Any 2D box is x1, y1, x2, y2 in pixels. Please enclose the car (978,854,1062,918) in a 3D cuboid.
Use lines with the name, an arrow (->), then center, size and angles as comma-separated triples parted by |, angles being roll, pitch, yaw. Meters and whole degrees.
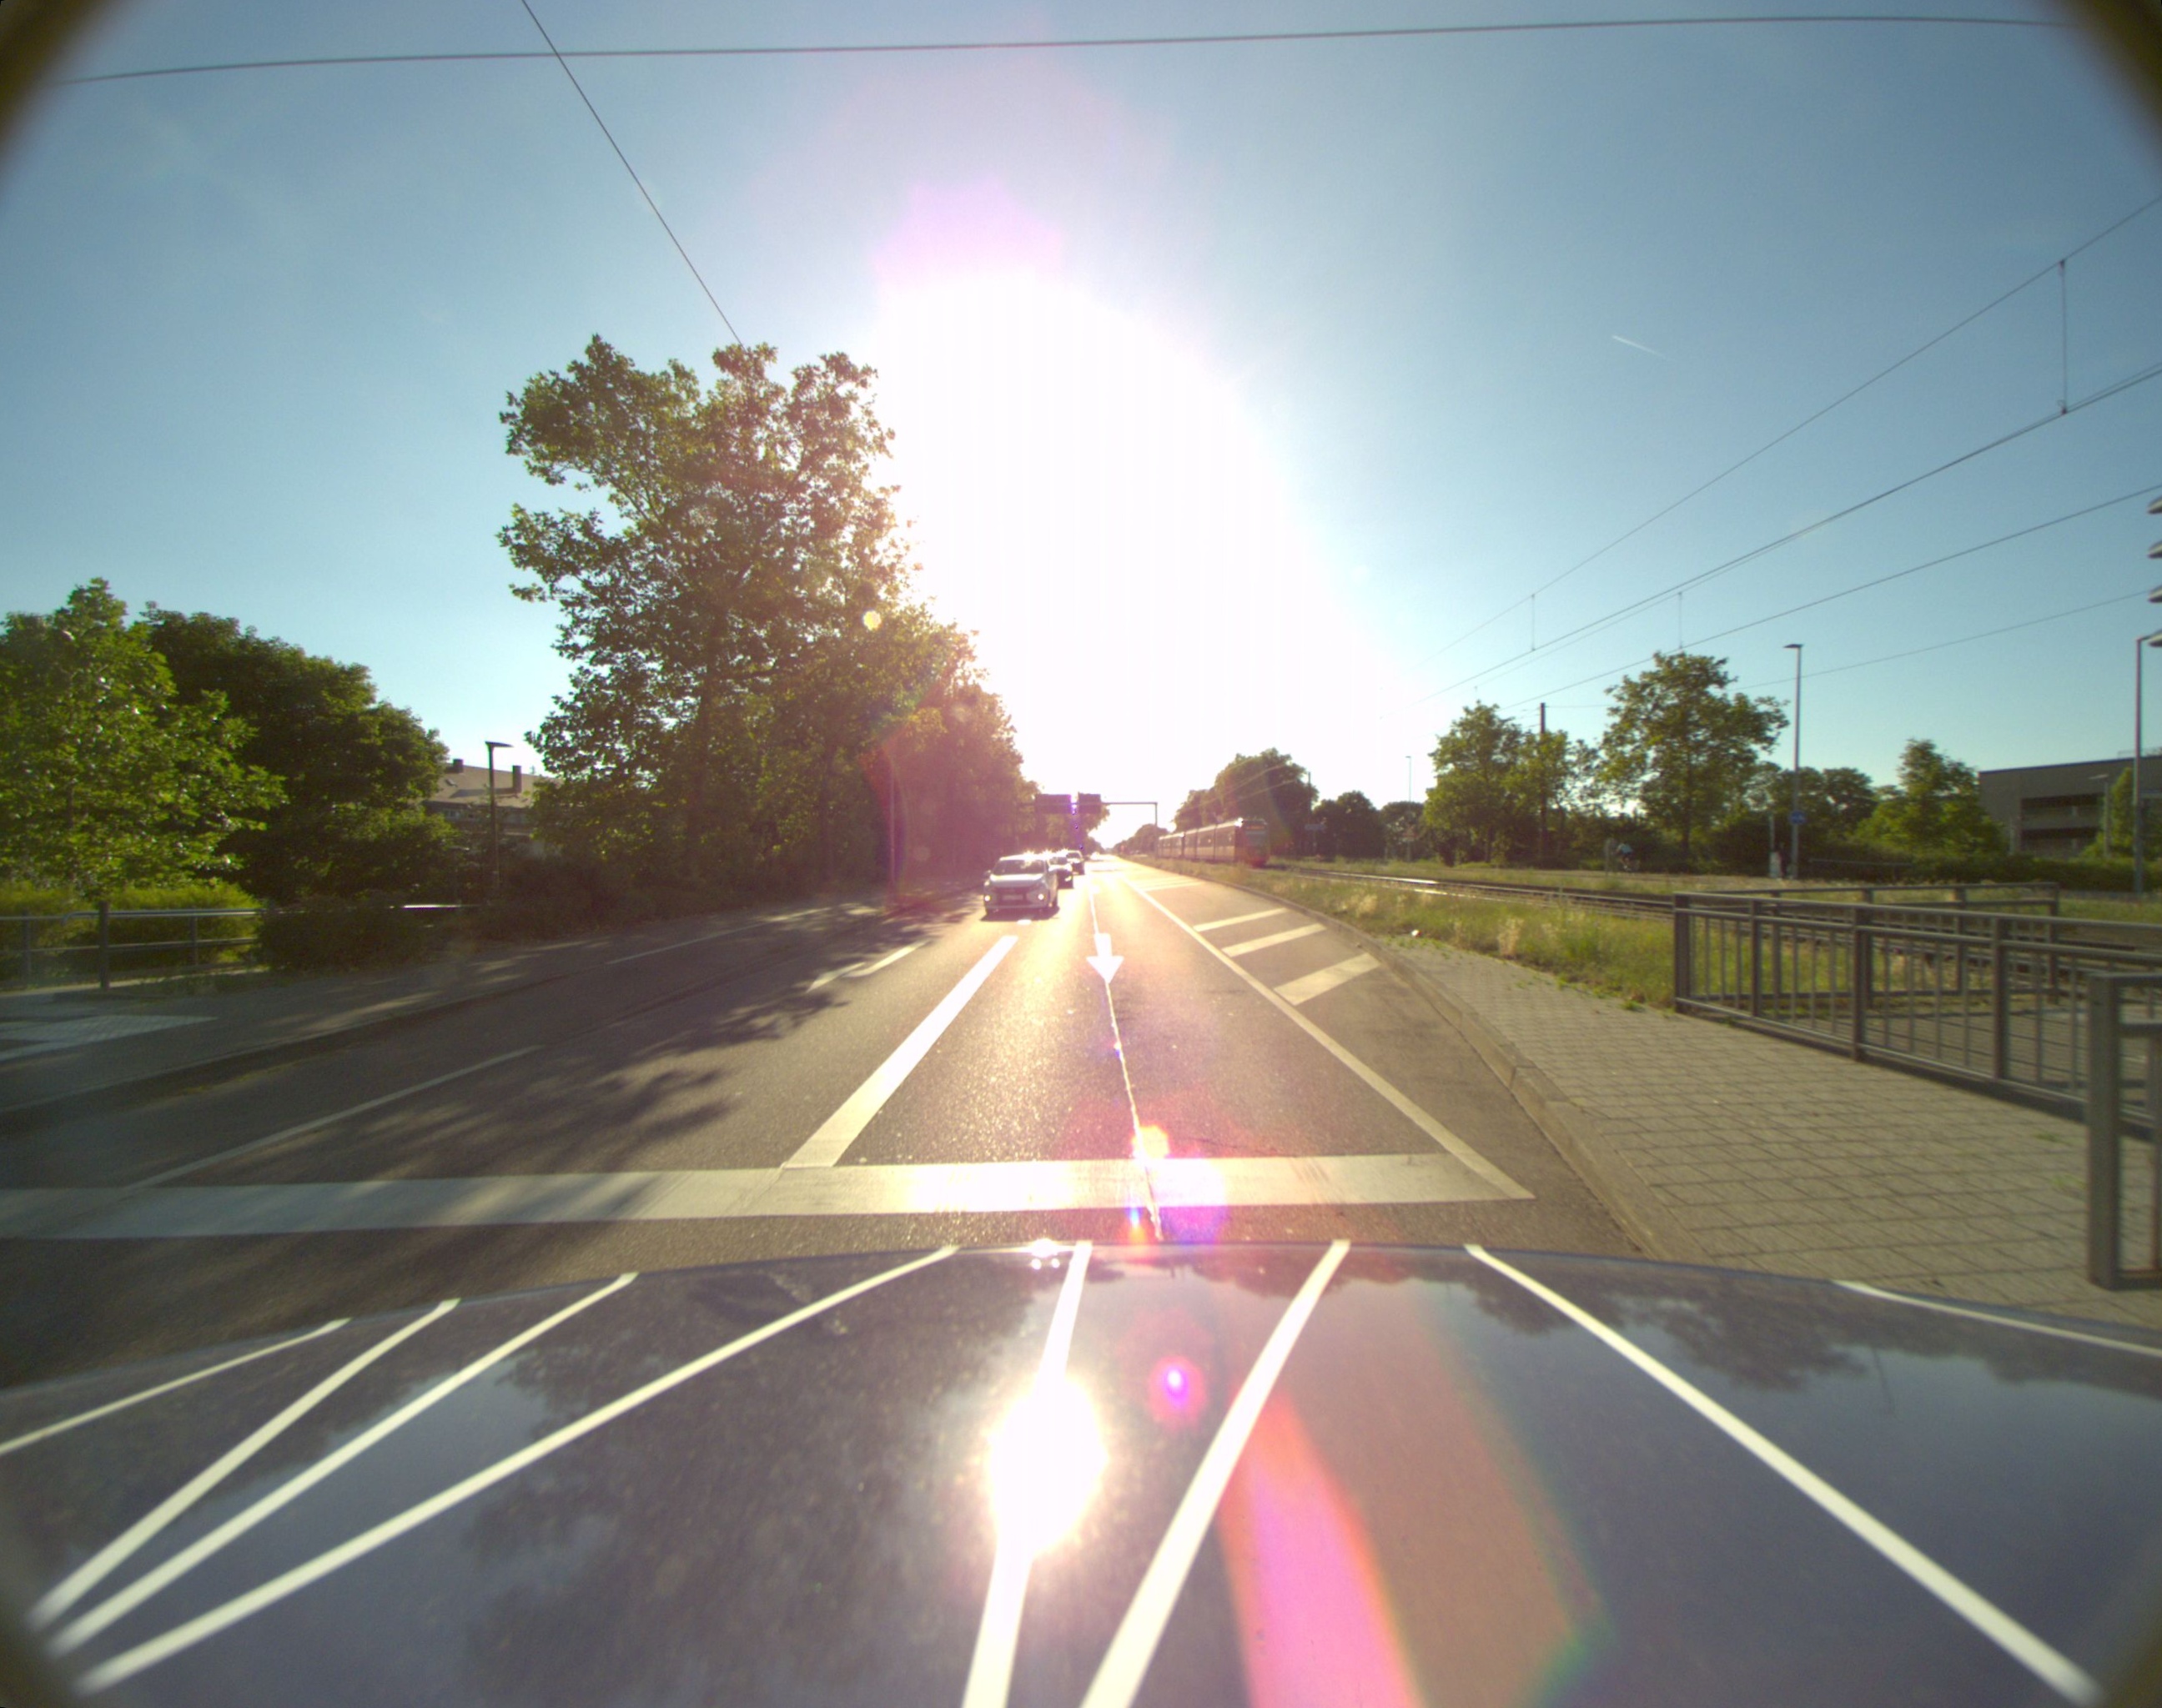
car -> -1.546, 0.793, 20.472 | 1.670, 1.465, 3.745 | -1, 1, 4

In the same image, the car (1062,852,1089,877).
car -> -0.371, 0.693, 52.722 | 1.824, 1.608, 3.999 | -1, 1, 0

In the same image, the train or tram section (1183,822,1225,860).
train or tram section -> 13.728, -1.397, 86.100 | 2.891, 3.924, 12.111 | -1, 1, 1

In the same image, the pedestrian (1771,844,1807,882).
pedestrian -> 29.980, 0.379, 32.177 | 0.722, 1.600, 0.879 | -1, 1, 1

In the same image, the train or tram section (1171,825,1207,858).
train or tram section -> 13.903, -1.539, 98.975 | 2.891, 3.924, 13.658 | -1, 1, 1

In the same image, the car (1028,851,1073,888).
car -> -1.321, 0.673, 34.662 | 1.786, 1.530, 4.000 | -1, 1, 1

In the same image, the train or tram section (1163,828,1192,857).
train or tram section -> 14.067, -1.664, 111.741 | 2.891, 3.924, 11.911 | -1, 1, 1

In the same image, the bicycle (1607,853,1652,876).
bicycle -> 28.780, 0.522, 39.917 | 0.632, 1.121, 2.528 | -1, 1, 1

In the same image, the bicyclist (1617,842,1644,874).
bicyclist -> 28.774, 0.200, 39.797 | 0.770, 1.608, 0.835 | -1, 1, 1

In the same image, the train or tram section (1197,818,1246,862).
train or tram section -> 13.570, -1.283, 74.378 | 2.891, 3.924, 11.339 | -1, 1, 1

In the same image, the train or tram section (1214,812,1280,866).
train or tram section -> 13.403, -1.180, 62.656 | 2.891, 3.924, 12.111 | -1, 1, 1
